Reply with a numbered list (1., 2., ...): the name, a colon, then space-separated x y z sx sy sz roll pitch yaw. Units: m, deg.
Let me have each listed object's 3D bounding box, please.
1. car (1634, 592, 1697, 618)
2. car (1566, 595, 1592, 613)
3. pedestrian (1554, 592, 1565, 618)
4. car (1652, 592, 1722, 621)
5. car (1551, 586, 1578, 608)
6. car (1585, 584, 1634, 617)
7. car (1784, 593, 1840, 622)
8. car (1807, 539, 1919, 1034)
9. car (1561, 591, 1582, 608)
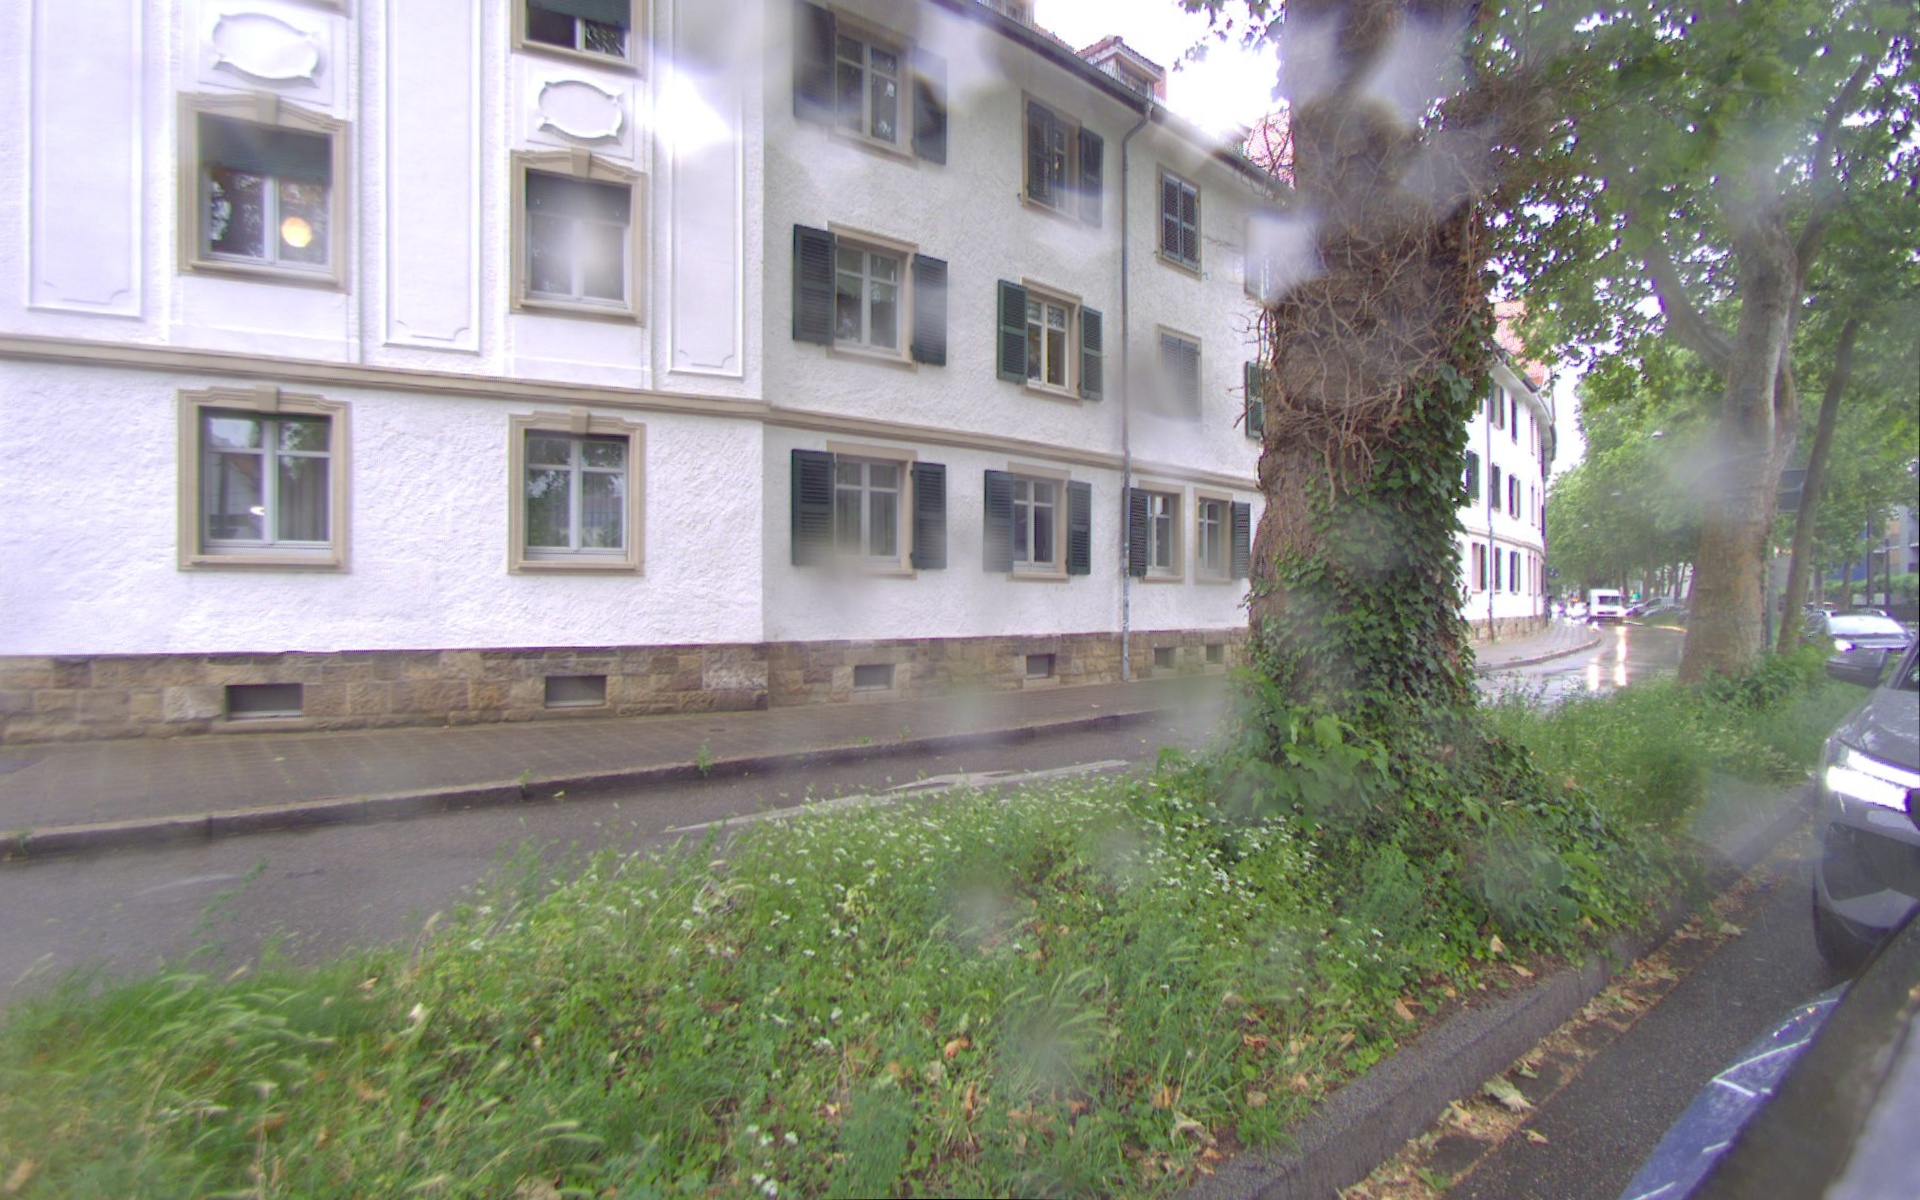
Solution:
1. car: 55.913 0.383 80.292 3.969 2.039 1.977 0 -1 32
2. car: 55.358 0.384 90.567 1.816 1.545 3.959 0 0 29
3. pedestrian: 42.943 0.319 72.459 0.668 1.845 0.672 0 0 31
4. car: 52.646 0.468 73.387 3.969 2.039 1.977 0 -1 32
5. car: 61.105 -0.346 102.340 1.983 2.038 3.961 5 3 28
6. car: 46.513 0.020 72.552 2.173 2.292 5.366 0 0 24
7. car: 50.065 0.417 59.537 1.741 1.612 4.191 0 0 29
8. car: 5.143 0.617 4.311 4.039 1.662 1.913 0 0 -44
9. car: 81.878 -0.102 135.546 1.983 2.038 3.961 5 3 28
